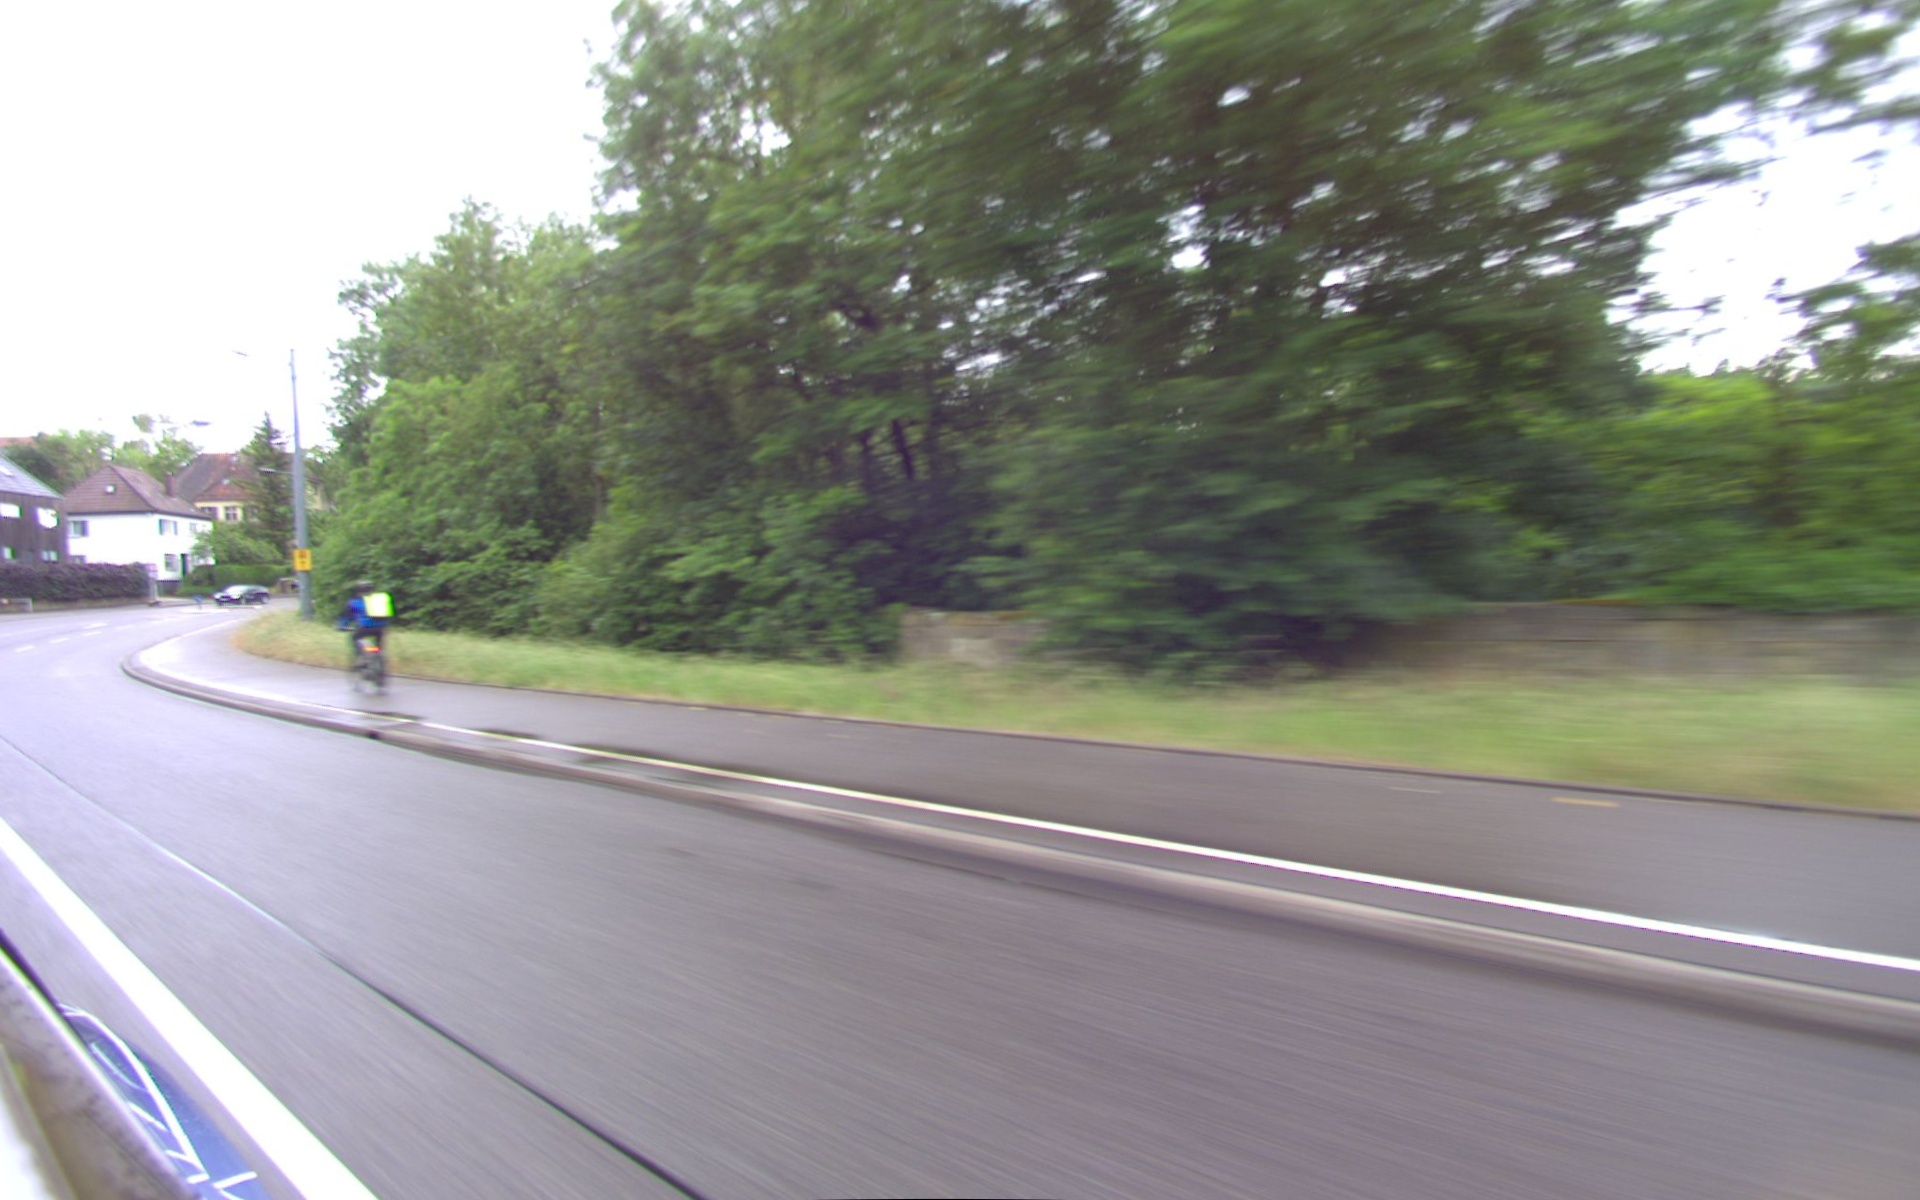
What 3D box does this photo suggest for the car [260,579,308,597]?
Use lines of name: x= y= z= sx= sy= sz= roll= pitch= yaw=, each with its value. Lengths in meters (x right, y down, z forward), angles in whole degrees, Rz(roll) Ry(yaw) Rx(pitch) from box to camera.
car: x=-63.840 y=-1.145 z=95.547 sx=3.435 sy=1.422 sz=1.429 roll=-4 pitch=3 yaw=-5

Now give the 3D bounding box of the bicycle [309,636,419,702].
bicycle: x=-9.820 y=1.098 z=16.618 sx=2.549 sy=0.949 sz=0.717 roll=-2 pitch=2 yaw=41

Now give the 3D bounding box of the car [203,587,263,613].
car: x=-54.722 y=-0.035 z=76.282 sx=1.969 sy=1.729 sz=4.007 roll=-1 pitch=3 yaw=-7

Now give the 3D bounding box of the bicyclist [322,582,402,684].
bicyclist: x=-9.752 y=0.522 z=16.501 sx=1.170 sy=1.567 sz=0.701 roll=-2 pitch=2 yaw=41
